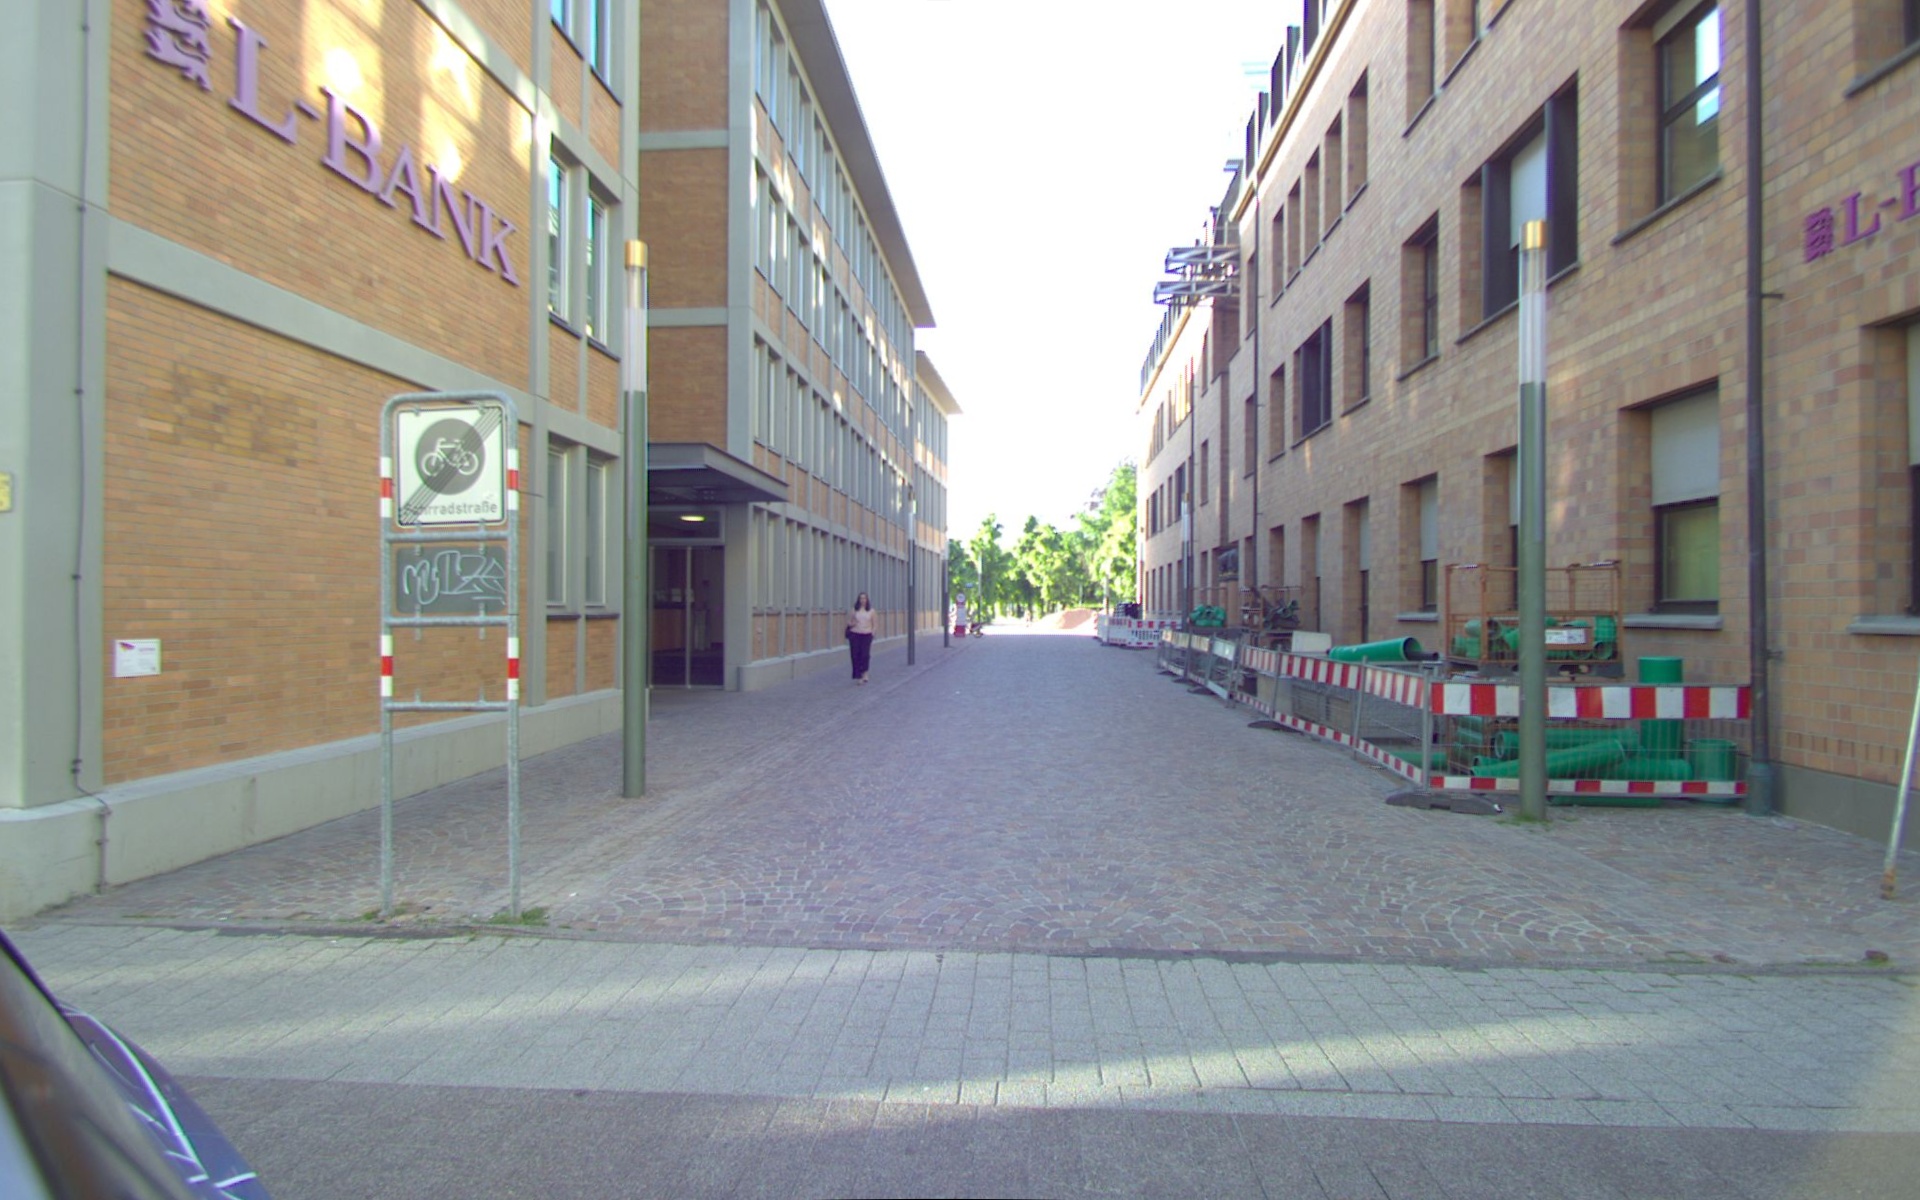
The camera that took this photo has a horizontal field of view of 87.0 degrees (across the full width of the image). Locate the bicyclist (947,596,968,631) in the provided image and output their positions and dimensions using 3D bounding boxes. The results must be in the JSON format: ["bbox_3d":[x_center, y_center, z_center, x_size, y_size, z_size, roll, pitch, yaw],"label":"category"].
[{"bbox_3d":[-0.130,0.799,59.937,1.083,2.029,1.001,0,0,9],"label":"bicyclist"}]

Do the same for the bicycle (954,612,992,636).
[{"bbox_3d":[0.703,1.292,54.633,2.041,1.270,0.725,0,-1,-38],"label":"bicycle"}]

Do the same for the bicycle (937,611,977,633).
[{"bbox_3d":[-0.188,1.289,60.036,2.305,1.282,0.778,0,0,7],"label":"bicycle"}]

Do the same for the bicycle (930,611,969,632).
[{"bbox_3d":[-0.628,1.294,61.051,2.305,1.282,0.778,0,0,7],"label":"bicycle"}]

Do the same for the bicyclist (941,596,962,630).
[{"bbox_3d":[-0.506,0.804,61.035,1.083,2.029,1.001,0,0,9],"label":"bicyclist"}]

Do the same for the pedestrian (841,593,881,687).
[{"bbox_3d":[-1.917,0.766,19.694,0.684,1.793,0.697,0,0,3],"label":"pedestrian"}]
